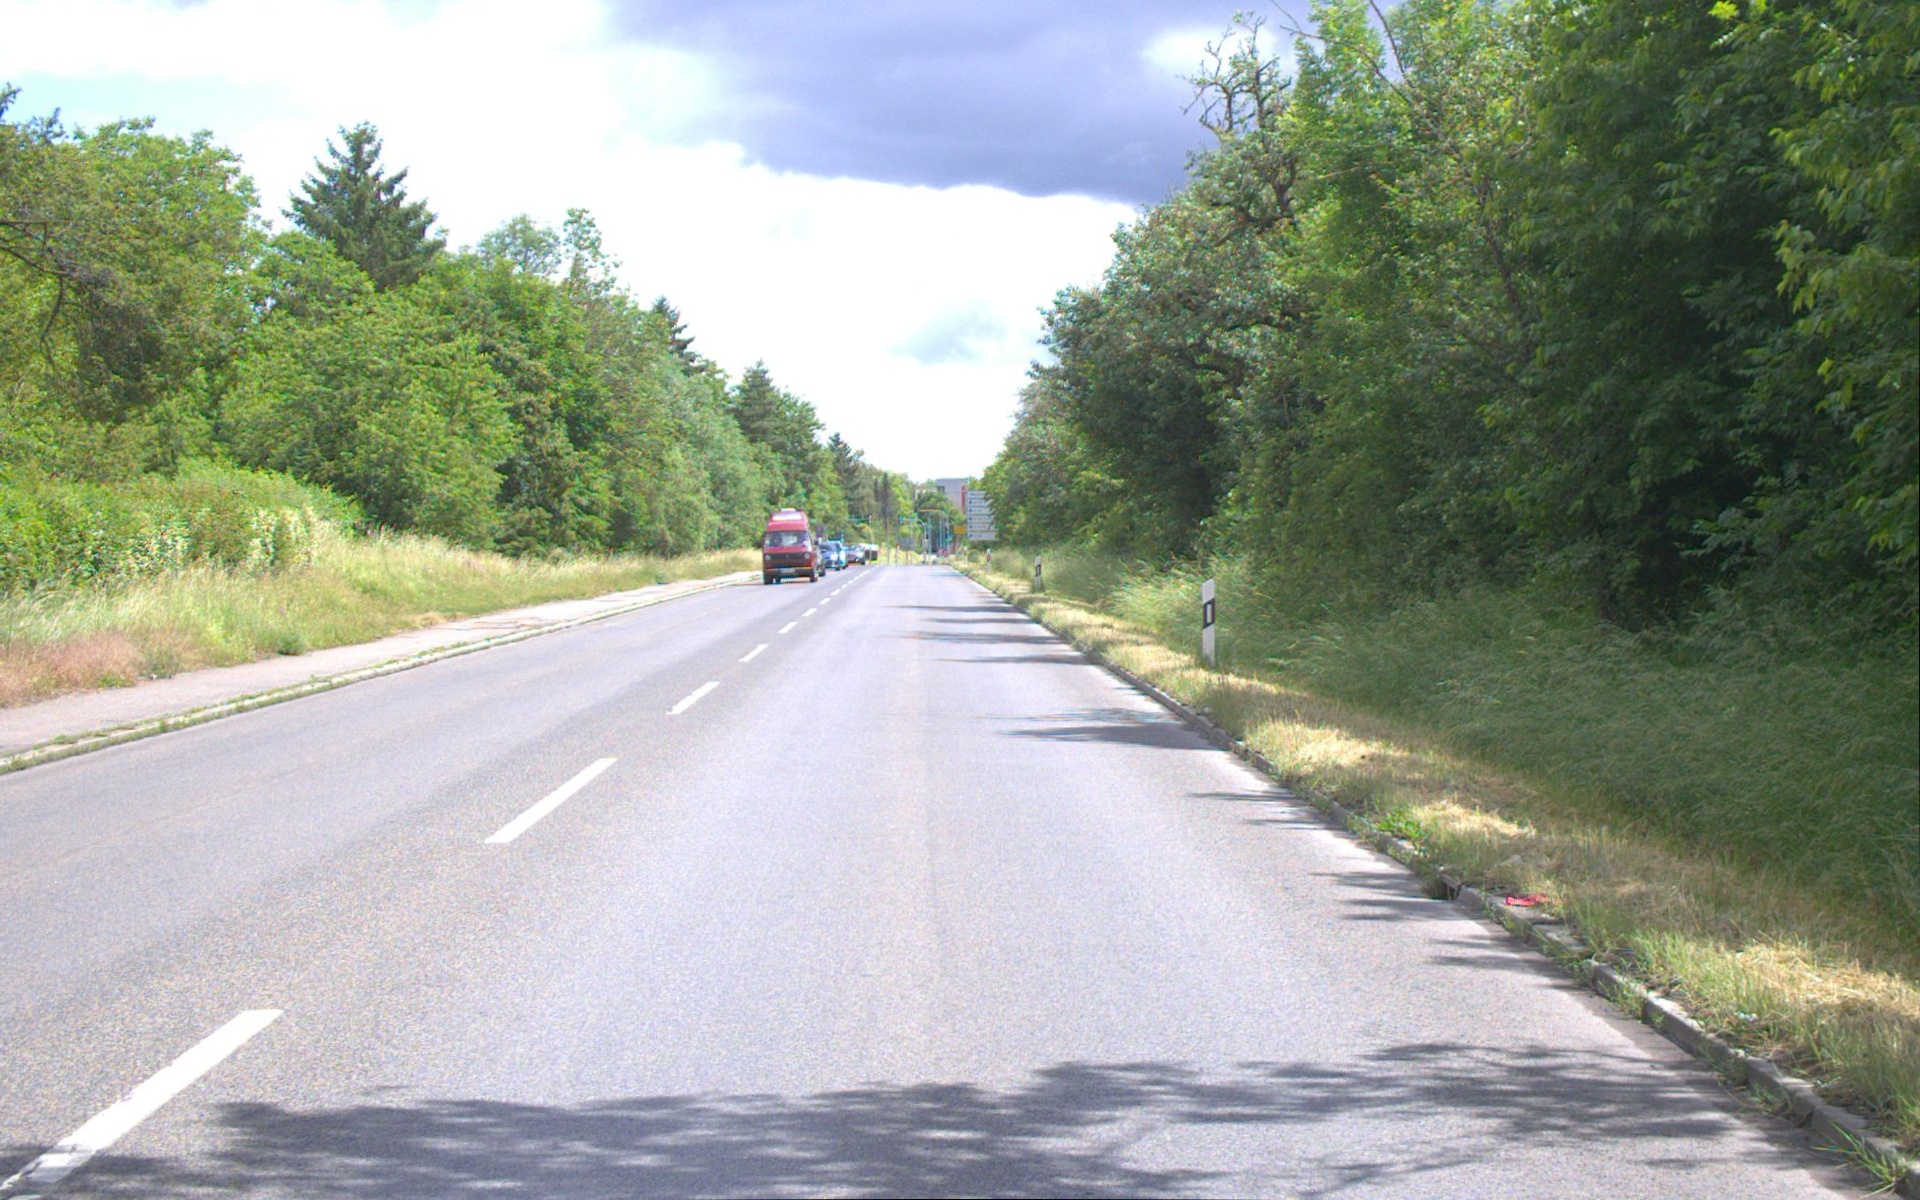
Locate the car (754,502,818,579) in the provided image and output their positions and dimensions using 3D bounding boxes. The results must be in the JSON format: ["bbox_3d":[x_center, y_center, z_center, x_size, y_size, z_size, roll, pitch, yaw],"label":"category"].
[{"bbox_3d":[-6.058,-2.070,119.987,1.969,2.541,4.725,-3,1,-1],"label":"car"}]

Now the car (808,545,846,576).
[{"bbox_3d":[-6.563,-1.967,170.240,1.784,1.441,4.453,-2,1,-2],"label":"car"}]
